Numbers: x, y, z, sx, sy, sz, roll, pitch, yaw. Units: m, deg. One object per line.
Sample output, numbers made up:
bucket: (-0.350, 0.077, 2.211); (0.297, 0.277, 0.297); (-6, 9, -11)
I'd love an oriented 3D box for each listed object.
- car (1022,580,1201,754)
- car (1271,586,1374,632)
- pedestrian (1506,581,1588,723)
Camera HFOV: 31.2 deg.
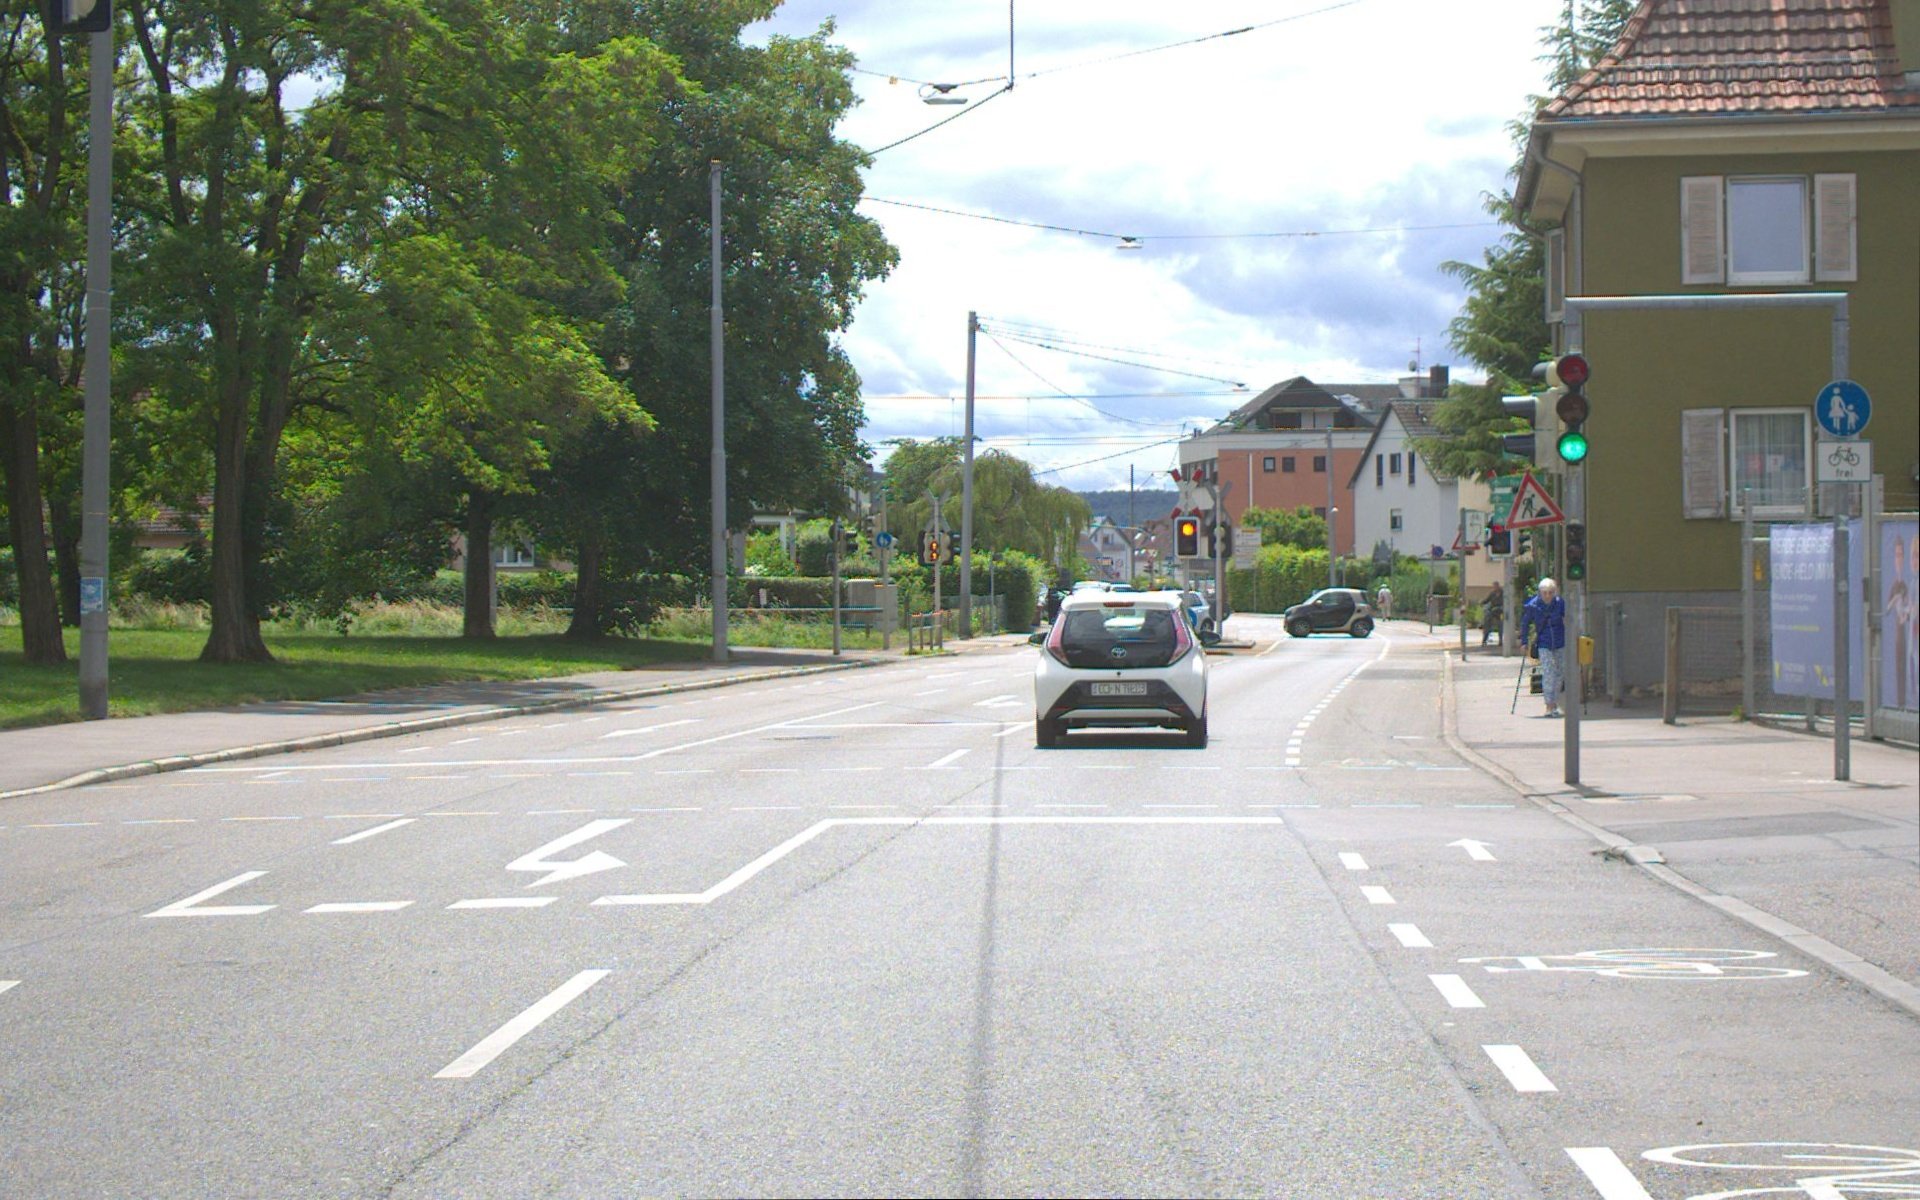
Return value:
car: (1.442, 0.638, 33.888); (1.603, 1.601, 4.000); (-1, 0, 1)
car: (11.360, 0.284, 107.869); (3.040, 1.429, 1.483); (-1, 0, -1)
pedestrian: (6.621, 0.592, 38.798); (0.678, 1.548, 0.835); (-2, -3, -3)
